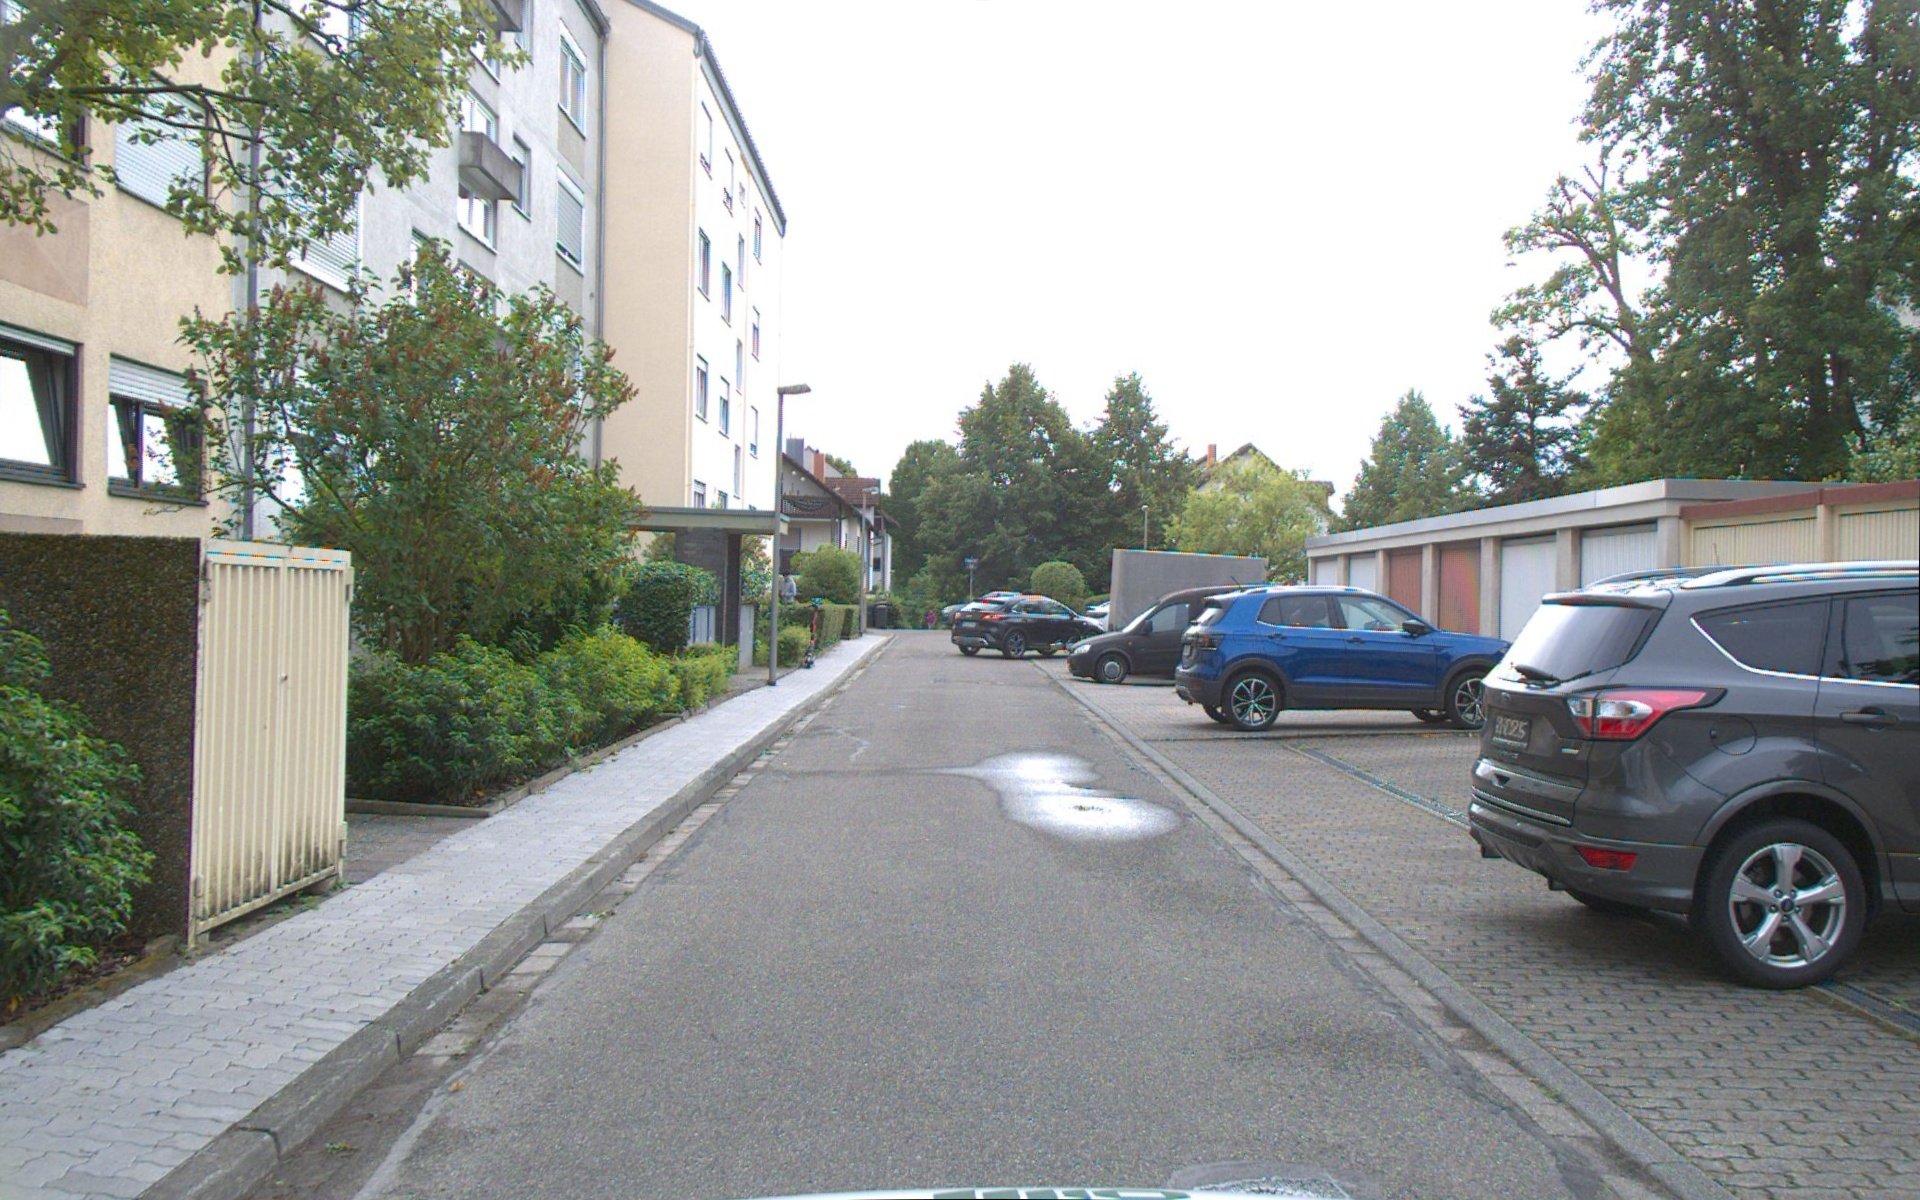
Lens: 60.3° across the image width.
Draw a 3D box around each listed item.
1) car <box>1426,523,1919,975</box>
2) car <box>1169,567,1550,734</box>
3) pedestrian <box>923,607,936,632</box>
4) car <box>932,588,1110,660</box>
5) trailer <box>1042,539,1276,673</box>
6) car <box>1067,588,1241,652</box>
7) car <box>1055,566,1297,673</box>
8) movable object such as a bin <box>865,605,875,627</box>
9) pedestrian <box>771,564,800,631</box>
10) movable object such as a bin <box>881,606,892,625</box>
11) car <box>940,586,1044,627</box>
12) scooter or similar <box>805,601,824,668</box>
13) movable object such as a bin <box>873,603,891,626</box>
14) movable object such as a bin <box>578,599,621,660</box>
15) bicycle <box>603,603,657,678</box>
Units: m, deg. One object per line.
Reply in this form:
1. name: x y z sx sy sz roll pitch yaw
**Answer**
1. car: 4.500 0.542 7.606 4.110 1.757 2.000 -2 1 -2
2. car: 4.539 0.546 19.248 3.906 1.733 2.000 -2 1 -2
3. pedestrian: -1.952 1.232 104.743 0.799 1.544 0.438 1 -1 -3
4. car: 1.511 0.550 40.454 3.951 1.579 1.977 -2 1 -34
5. trailer: 3.998 0.107 33.815 4.515 2.569 1.942 1 0 0
6. car: 5.157 0.518 44.414 4.443 1.616 1.988 1 0 1
7. car: 4.001 0.337 31.137 4.223 1.833 2.000 -2 1 -2
8. movable object such as a bin: -3.858 0.682 70.906 0.378 0.905 0.379 2 0 -3
9. pedestrian: -4.715 -0.067 44.707 0.665 1.779 0.756 2 0 -3
10. movable object such as a bin: -3.149 0.658 71.304 0.450 0.811 0.379 2 0 -3
11. car: 1.279 0.281 67.411 4.151 1.558 1.747 1 -2 -1
12. scooter or similar: -2.762 0.637 31.371 0.267 1.232 1.164 1 1 -1
13. movable object such as a bin: -3.314 0.613 70.123 0.718 0.970 0.584 2 0 -1
14. movable object such as a bin: -6.266 0.504 28.778 0.611 1.052 0.589 0 0 -1
15. bicycle: -4.933 0.587 24.810 0.444 1.052 1.546 3 0 0
